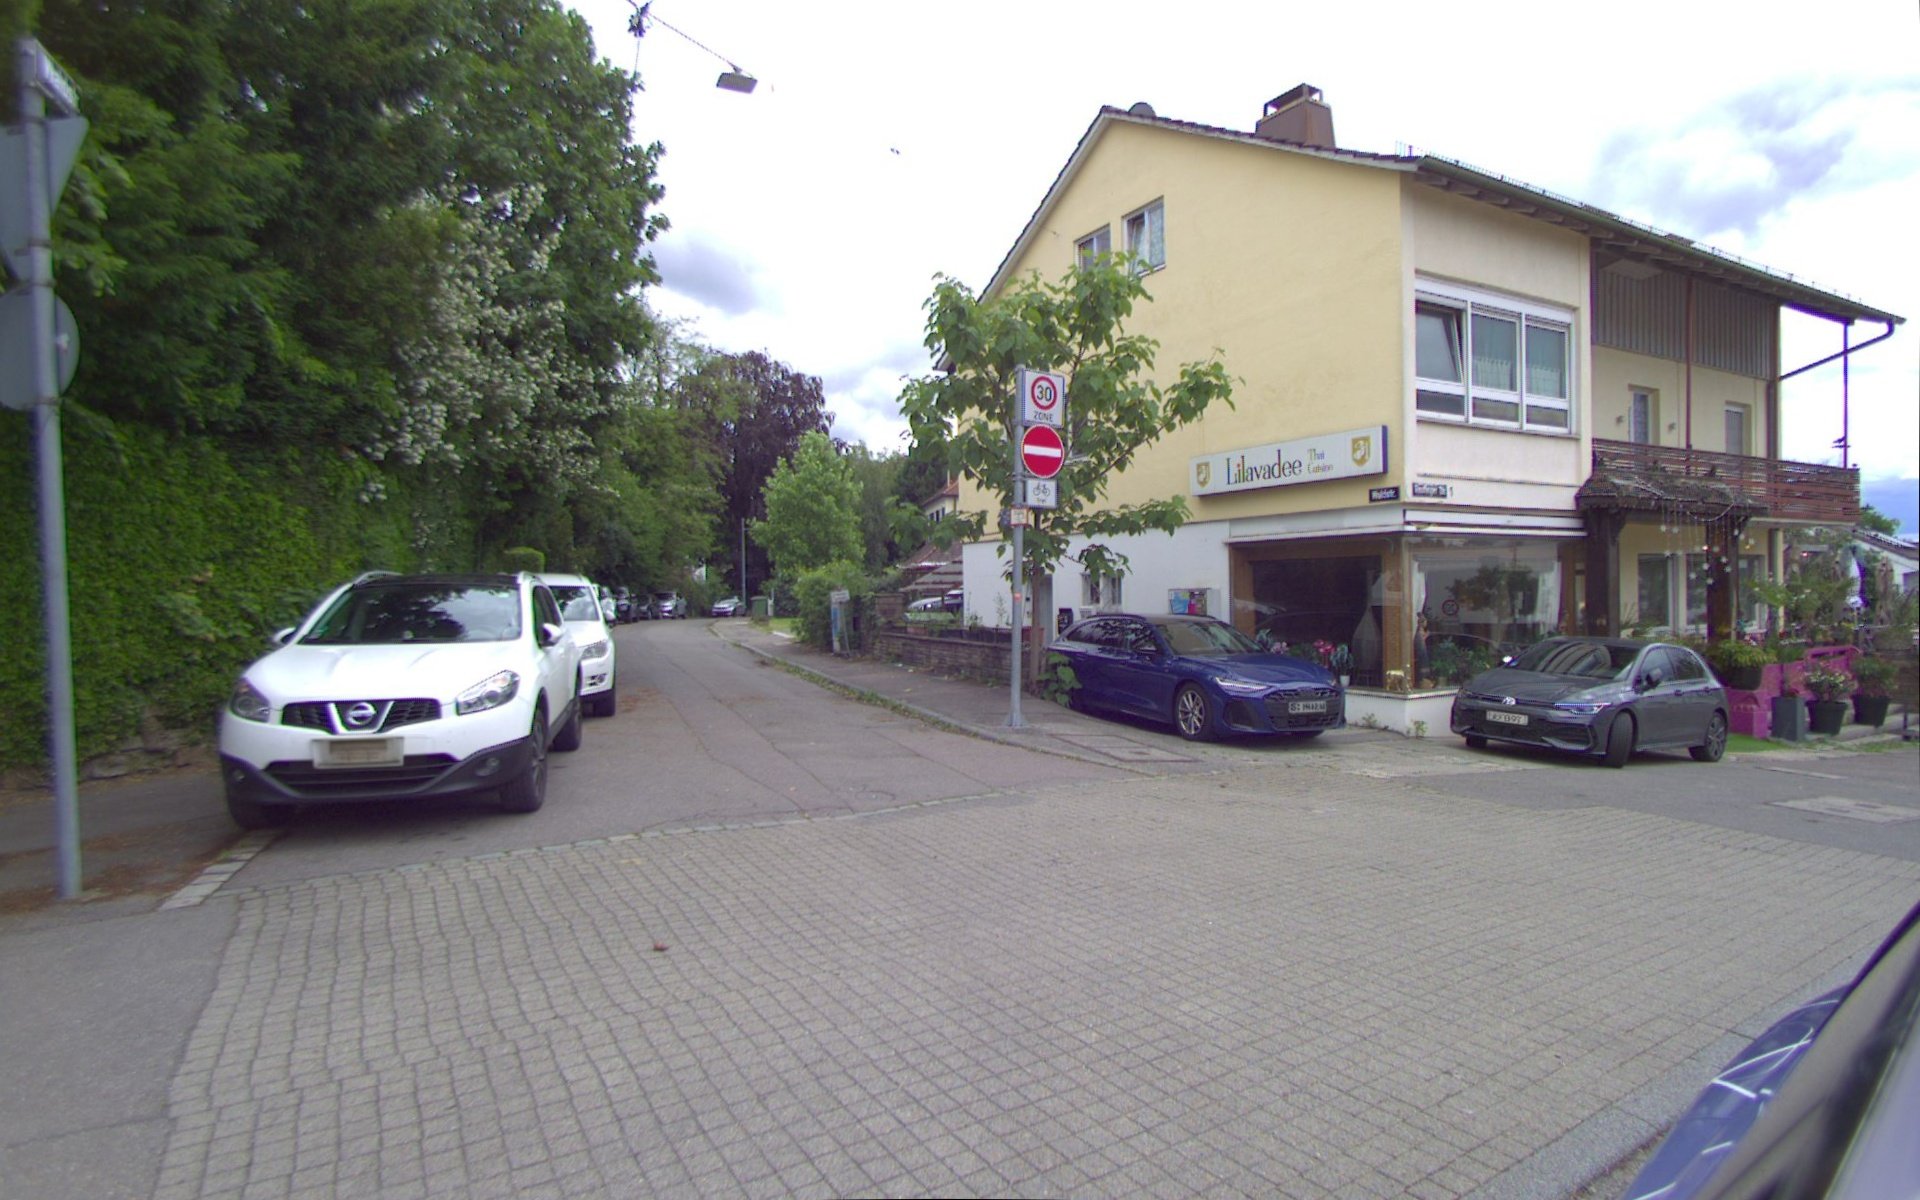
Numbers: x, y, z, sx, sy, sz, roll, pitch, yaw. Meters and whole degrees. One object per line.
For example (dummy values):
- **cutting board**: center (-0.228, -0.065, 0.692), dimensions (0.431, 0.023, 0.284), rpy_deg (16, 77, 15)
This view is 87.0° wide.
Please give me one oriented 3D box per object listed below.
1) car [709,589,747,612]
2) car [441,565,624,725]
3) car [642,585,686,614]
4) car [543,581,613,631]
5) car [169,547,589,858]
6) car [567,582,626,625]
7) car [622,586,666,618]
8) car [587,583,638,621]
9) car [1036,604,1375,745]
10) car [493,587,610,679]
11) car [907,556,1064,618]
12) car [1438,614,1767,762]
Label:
- **car**: center (-16.371, 0.027, 71.463), dimensions (1.547, 1.502, 3.468), rpy_deg (0, 1, 7)
- **car**: center (-5.189, 0.435, 12.618), dimensions (1.761, 1.643, 4.080), rpy_deg (-1, 1, -20)
- **car**: center (-16.261, -0.042, 55.801), dimensions (1.543, 1.502, 3.476), rpy_deg (0, 1, -3)
- **car**: center (-12.233, 0.139, 32.599), dimensions (1.542, 1.502, 3.745), rpy_deg (-1, 1, -11)
- **car**: center (-3.878, 0.509, 7.563), dimensions (1.761, 1.643, 4.144), rpy_deg (-1, 1, -16)
- **car**: center (-13.440, 0.104, 37.552), dimensions (1.542, 1.502, 3.481), rpy_deg (-1, 1, -11)
- **car**: center (-15.936, 0.074, 51.119), dimensions (1.542, 1.502, 3.479), rpy_deg (-1, 1, -8)
- **car**: center (-14.225, 0.045, 41.533), dimensions (1.542, 1.502, 3.481), rpy_deg (-1, 1, -11)
- **car**: center (2.903, 0.830, 13.221), dimensions (1.761, 1.405, 4.758), rpy_deg (2, 0, -23)
- **car**: center (-7.390, 0.502, 18.546), dimensions (1.761, 1.441, 4.080), rpy_deg (-1, 1, -20)
- **car**: center (0.755, -0.368, 30.281), dimensions (4.235, 1.480, 1.802), rpy_deg (4, -2, -19)
- **car**: center (7.931, 1.067, 12.383), dimensions (4.242, 1.480, 1.800), rpy_deg (5, -2, -34)
